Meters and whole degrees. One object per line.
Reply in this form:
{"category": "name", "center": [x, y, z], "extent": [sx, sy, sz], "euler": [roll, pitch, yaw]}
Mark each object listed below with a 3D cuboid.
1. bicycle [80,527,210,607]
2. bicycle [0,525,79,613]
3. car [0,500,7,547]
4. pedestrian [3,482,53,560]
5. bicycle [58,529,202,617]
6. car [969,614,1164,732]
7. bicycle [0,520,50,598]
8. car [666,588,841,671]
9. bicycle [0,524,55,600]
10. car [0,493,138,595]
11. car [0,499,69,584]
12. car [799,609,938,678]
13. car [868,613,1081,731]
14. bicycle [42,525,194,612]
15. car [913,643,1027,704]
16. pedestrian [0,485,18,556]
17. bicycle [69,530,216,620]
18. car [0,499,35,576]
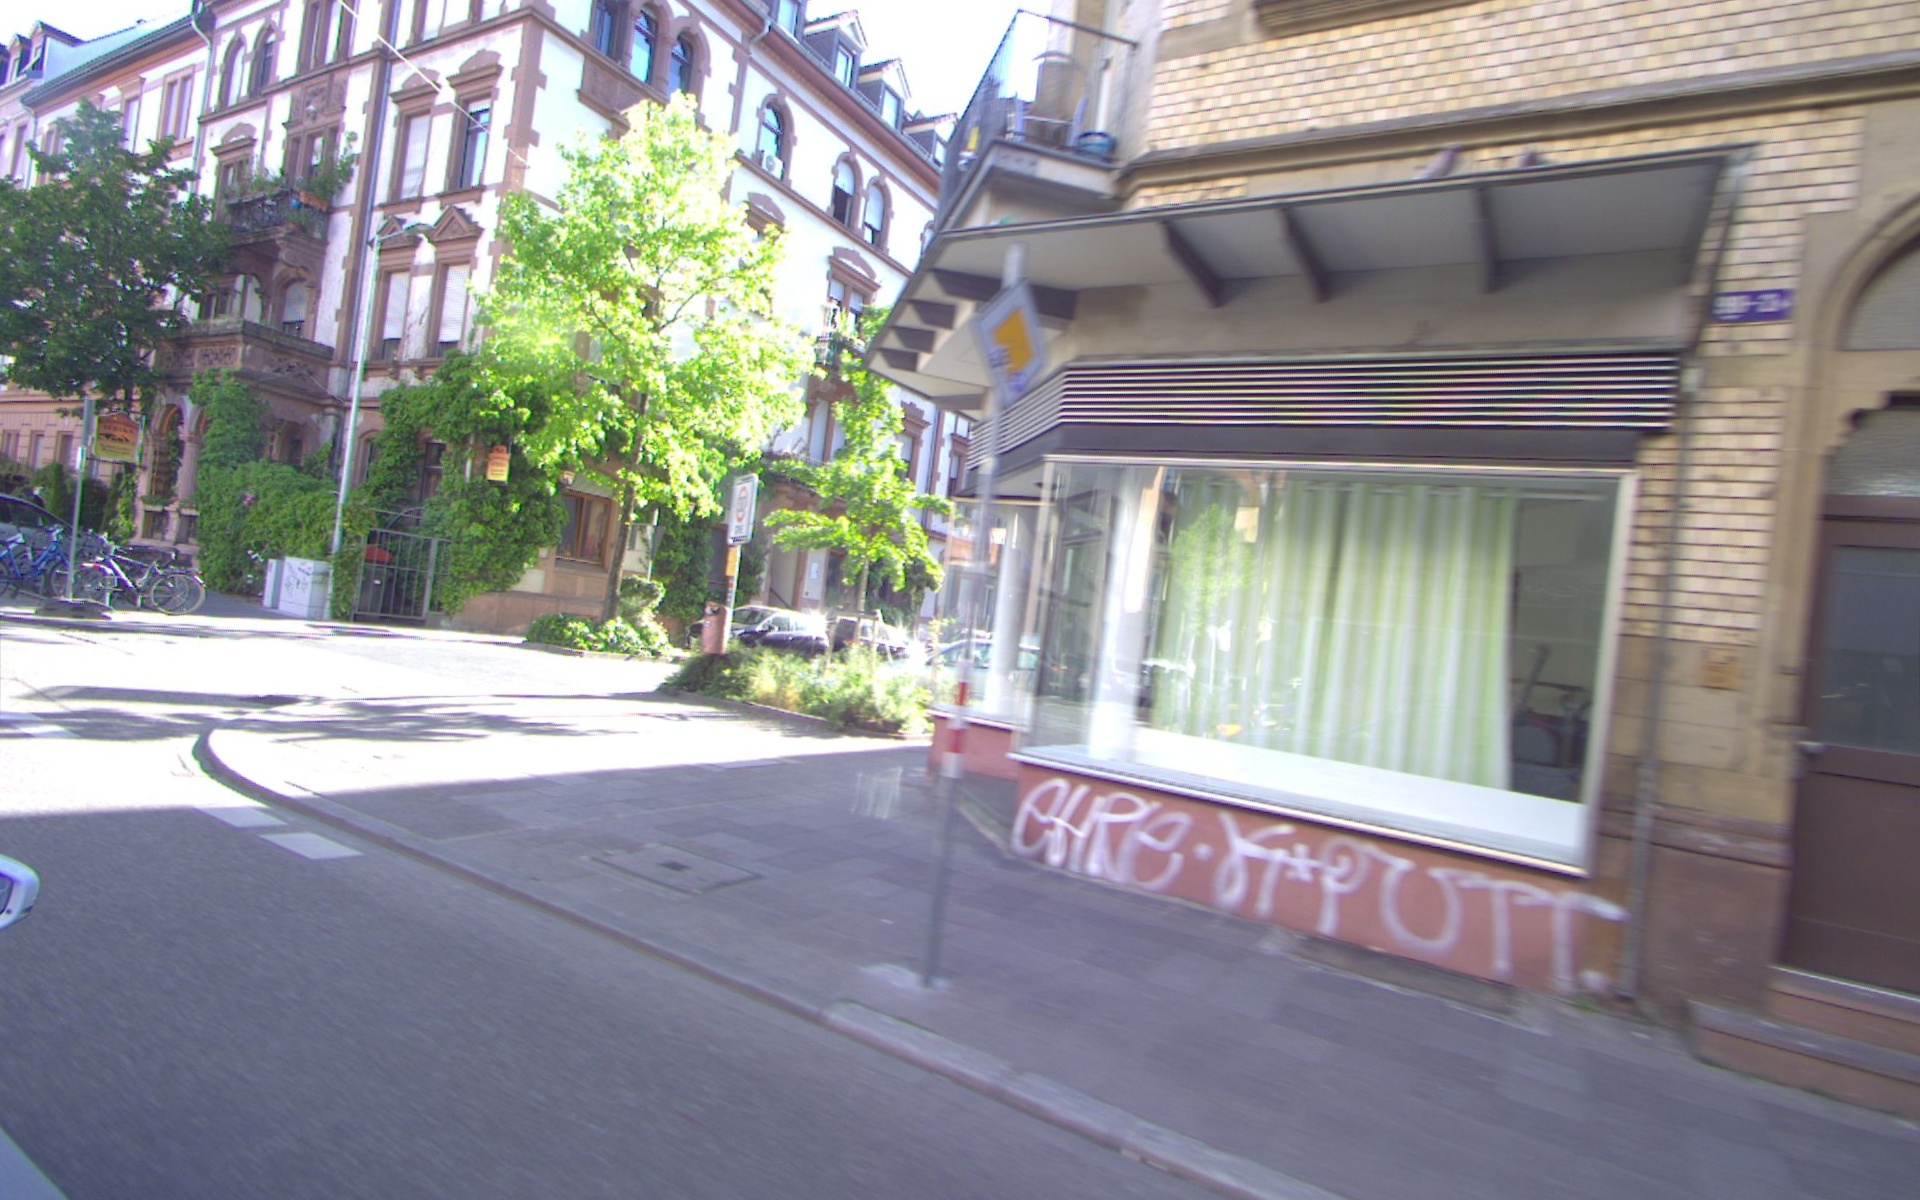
{"category": "bicycle", "center": [-14.045, -0.548, 17.363], "extent": [0.543, 1.140, 1.557], "euler": [6, -3, 38]}
{"category": "bicycle", "center": [-13.464, -0.469, 14.174], "extent": [0.541, 1.140, 1.404], "euler": [7, -2, 16]}
{"category": "car", "center": [-24.270, -1.855, 22.149], "extent": [2.006, 1.613, 4.339], "euler": [7, -3, 7]}
{"category": "pedestrian", "center": [-23.056, -1.954, 24.887], "extent": [0.849, 1.798, 0.519], "euler": [6, -2, 32]}
{"category": "bicycle", "center": [-12.943, -0.401, 15.729], "extent": [0.520, 1.140, 1.557], "euler": [6, -3, 38]}
{"category": "car", "center": [2.128, 1.484, 20.835], "extent": [3.670, 1.850, 1.774], "euler": [8, -2, 1]}
{"category": "bicycle", "center": [-15.184, -0.706, 15.520], "extent": [0.290, 1.140, 1.561], "euler": [6, -3, 38]}
{"category": "car", "center": [-4.837, 0.759, 24.112], "extent": [1.684, 1.469, 3.995], "euler": [6, -3, 32]}
{"category": "bicycle", "center": [-14.919, -0.648, 15.315], "extent": [0.303, 1.091, 1.557], "euler": [6, -3, 38]}
{"category": "car", "center": [-17.541, -1.148, 17.869], "extent": [1.818, 1.613, 4.372], "euler": [7, -3, 7]}
{"category": "car", "center": [-19.814, -1.359, 19.067], "extent": [1.882, 1.553, 4.006], "euler": [7, -3, 7]}
{"category": "car", "center": [-2.471, 1.261, 28.227], "extent": [1.684, 1.469, 3.995], "euler": [6, -3, 32]}
{"category": "car", "center": [0.259, 1.266, 17.991], "extent": [3.466, 1.549, 1.774], "euler": [8, -2, 1]}
{"category": "bicycle", "center": [-13.417, -0.481, 16.073], "extent": [0.543, 1.140, 1.676], "euler": [6, -3, 38]}
{"category": "car", "center": [0.391, 2.420, 32.552], "extent": [1.684, 1.590, 3.995], "euler": [6, -3, 32]}
{"category": "pedestrian", "center": [-23.422, -1.948, 24.374], "extent": [0.849, 1.667, 0.519], "euler": [6, -2, 32]}
{"category": "bicycle", "center": [-12.465, -0.360, 15.388], "extent": [0.543, 1.140, 1.557], "euler": [6, -3, 38]}
{"category": "car", "center": [-21.977, -1.607, 20.307], "extent": [2.049, 1.613, 4.456], "euler": [7, -3, 7]}
